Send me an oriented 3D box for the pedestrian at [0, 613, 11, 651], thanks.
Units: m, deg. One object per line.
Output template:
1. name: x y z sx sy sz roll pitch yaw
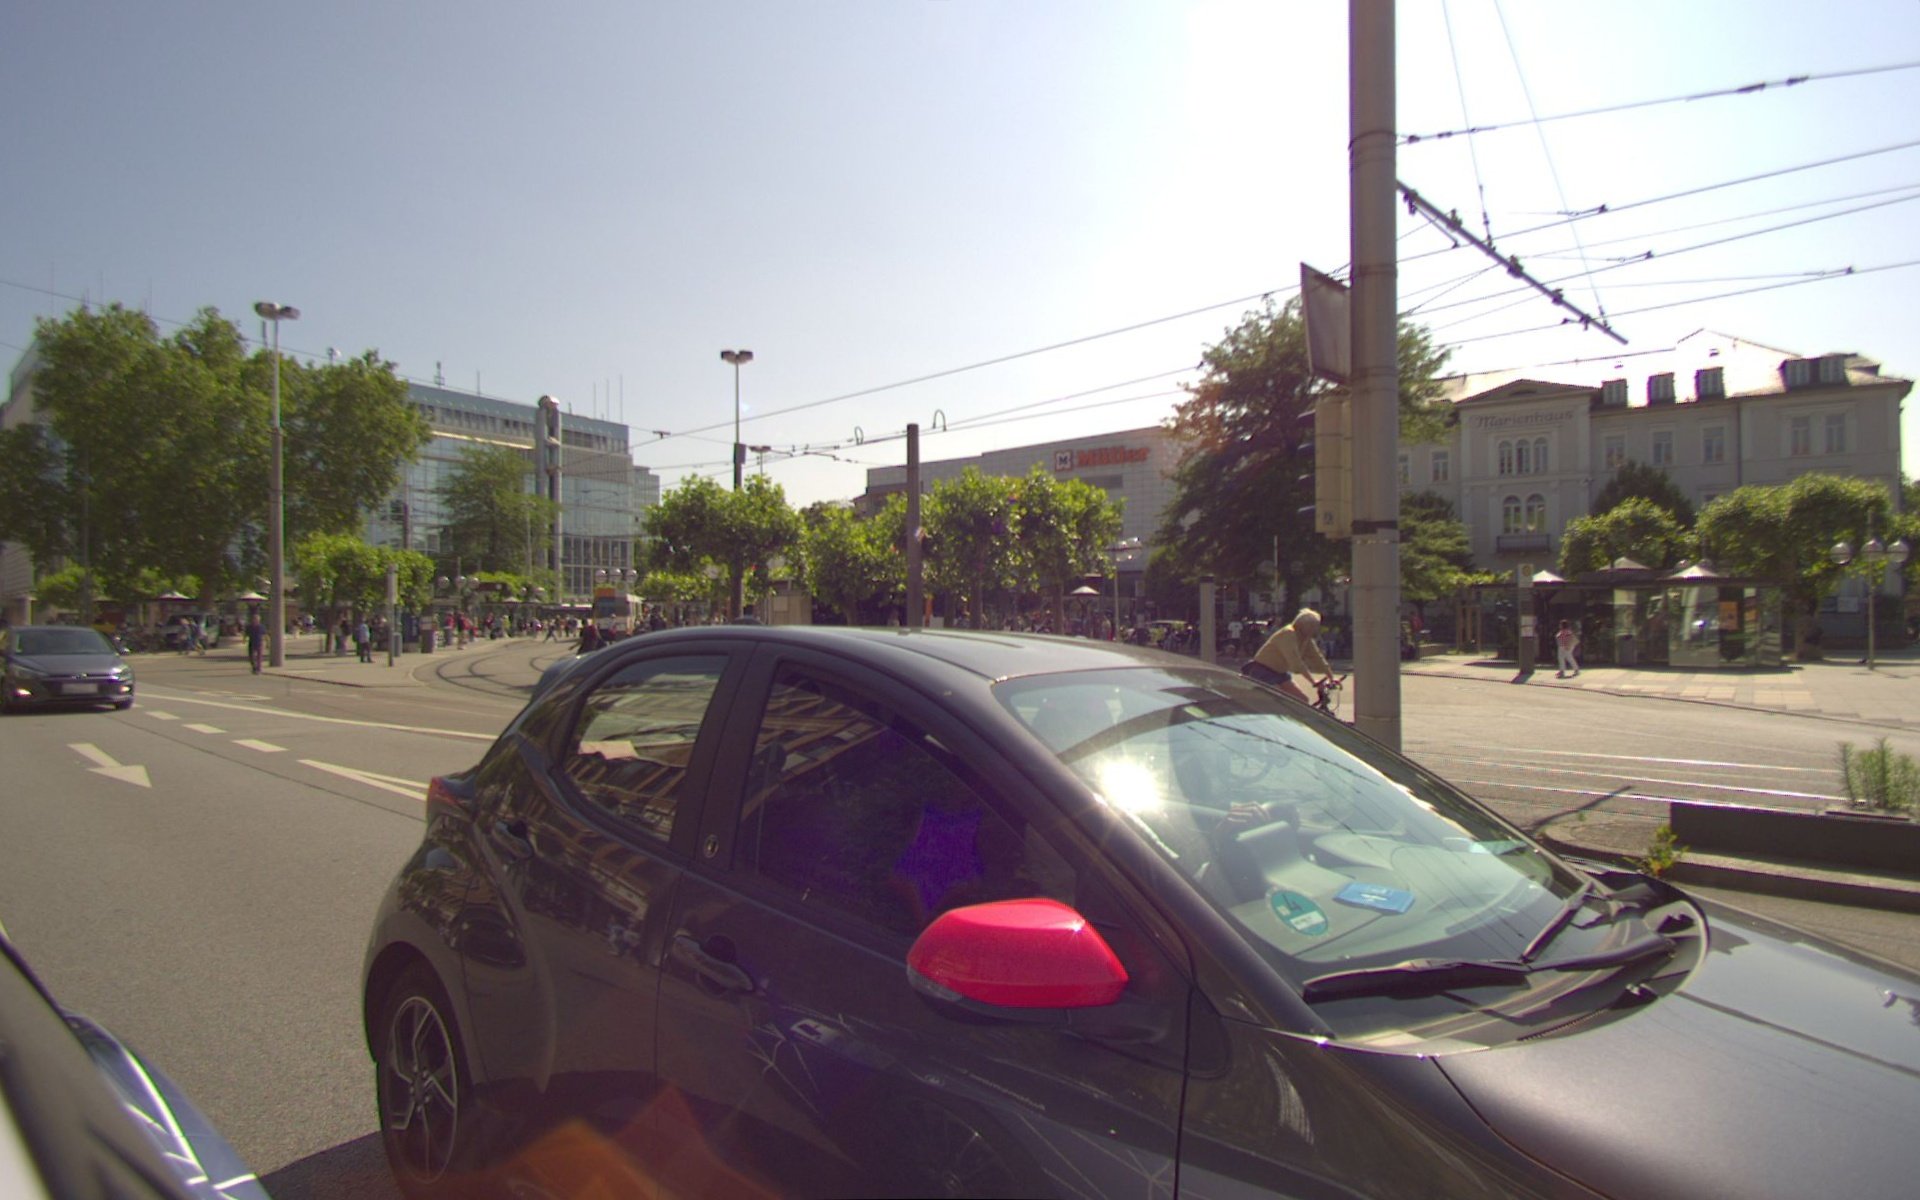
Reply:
1. pedestrian: -47.628 1.594 50.346 0.510 1.849 0.717 -2 0 -41

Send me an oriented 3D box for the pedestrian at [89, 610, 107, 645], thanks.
1. pedestrian: -43.328 1.368 50.870 0.516 1.755 0.511 -1 0 28

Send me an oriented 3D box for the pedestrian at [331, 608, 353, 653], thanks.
1. pedestrian: -28.214 1.377 46.217 0.563 2.023 0.686 -1 -1 32

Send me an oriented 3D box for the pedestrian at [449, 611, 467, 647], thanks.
1. pedestrian: -25.674 1.500 51.770 0.605 1.830 0.570 -2 -5 41

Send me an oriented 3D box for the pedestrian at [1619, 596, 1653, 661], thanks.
1. pedestrian: 21.433 0.903 32.074 0.621 2.023 0.736 4 -4 -43

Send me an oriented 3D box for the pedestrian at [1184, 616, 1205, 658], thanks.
1. pedestrian: 10.109 1.597 43.620 0.572 1.792 0.624 3 -4 -35

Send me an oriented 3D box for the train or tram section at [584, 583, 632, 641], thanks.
1. train or tram section: -25.349 0.775 73.221 2.578 3.856 9.546 -2 0 -15

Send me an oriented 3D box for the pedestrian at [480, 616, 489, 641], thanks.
1. pedestrian: -30.244 1.803 64.392 0.467 1.561 0.493 2 -4 -24

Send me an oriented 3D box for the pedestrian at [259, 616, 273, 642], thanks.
1. pedestrian: -47.554 1.966 69.362 0.629 1.706 0.754 -2 0 -26

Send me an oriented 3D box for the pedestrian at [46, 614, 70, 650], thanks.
1. pedestrian: -43.466 1.522 48.778 0.640 1.704 0.637 -1 0 28

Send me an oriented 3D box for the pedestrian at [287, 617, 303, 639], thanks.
1. pedestrian: -52.774 2.211 80.289 0.780 1.760 0.744 -1 0 31

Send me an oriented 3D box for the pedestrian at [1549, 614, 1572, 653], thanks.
1. pedestrian: 21.834 1.221 36.803 0.598 1.369 0.562 -2 -4 40

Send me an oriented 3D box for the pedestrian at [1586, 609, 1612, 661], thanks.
1. pedestrian: 21.811 1.187 34.529 0.618 1.742 0.732 -2 -4 40

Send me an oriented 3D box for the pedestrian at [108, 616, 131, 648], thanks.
1. pedestrian: -46.927 1.765 56.517 0.739 1.760 0.785 -2 0 -22

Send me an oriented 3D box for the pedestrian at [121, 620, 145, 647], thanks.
1. pedestrian: -45.020 1.804 55.101 0.780 1.418 0.744 -1 0 31

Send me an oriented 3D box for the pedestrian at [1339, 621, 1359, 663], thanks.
1. pedestrian: 14.922 1.618 38.855 0.616 1.611 0.735 -1 -3 29

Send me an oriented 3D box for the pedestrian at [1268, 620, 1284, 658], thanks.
1. pedestrian: 10.759 1.335 34.413 0.479 1.273 0.400 -1 -4 23

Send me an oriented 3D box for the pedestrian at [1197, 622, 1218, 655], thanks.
1. pedestrian: 9.764 1.516 39.925 0.613 1.273 0.583 4 -5 -40

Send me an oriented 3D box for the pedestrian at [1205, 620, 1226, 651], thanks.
1. pedestrian: 10.747 1.497 42.558 0.572 1.273 0.624 3 -4 -35

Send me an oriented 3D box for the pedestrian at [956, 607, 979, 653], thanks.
1. pedestrian: 0.270 1.096 36.822 0.549 1.620 0.600 -3 -5 44

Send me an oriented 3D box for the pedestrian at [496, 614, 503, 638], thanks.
1. pedestrian: -30.905 1.740 67.943 0.379 1.561 0.413 2 -4 -24

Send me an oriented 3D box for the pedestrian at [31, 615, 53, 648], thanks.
1. pedestrian: -50.030 1.708 55.161 0.666 1.760 0.742 -1 0 40

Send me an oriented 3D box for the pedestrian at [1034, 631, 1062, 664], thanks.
1. pedestrian: 2.681 1.450 30.758 0.580 1.008 0.627 -3 -5 44

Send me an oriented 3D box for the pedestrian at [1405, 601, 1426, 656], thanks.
1. pedestrian: 16.837 1.067 37.418 0.627 2.023 0.542 0 -3 19

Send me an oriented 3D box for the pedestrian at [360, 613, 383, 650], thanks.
1. pedestrian: -28.937 1.544 49.784 0.671 1.808 0.625 1 -4 -1

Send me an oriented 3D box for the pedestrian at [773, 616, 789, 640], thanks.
1. pedestrian: -11.983 1.891 67.697 0.840 1.561 0.677 0 -4 15

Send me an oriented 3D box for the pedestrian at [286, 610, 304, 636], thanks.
1. pedestrian: -46.771 1.628 71.183 0.780 1.760 0.744 -1 0 31

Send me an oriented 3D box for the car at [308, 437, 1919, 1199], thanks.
1. car: 0.219 0.691 2.123 4.001 1.486 1.757 -1 -3 44

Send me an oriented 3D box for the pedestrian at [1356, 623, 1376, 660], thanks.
1. pedestrian: 15.426 1.586 38.445 0.616 1.396 0.735 -1 -3 29

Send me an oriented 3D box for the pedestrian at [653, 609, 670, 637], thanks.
1. pedestrian: -17.565 1.333 59.520 0.675 1.610 0.621 -1 -4 19

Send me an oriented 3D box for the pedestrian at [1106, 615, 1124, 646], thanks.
1. pedestrian: 7.549 1.510 49.385 0.679 1.477 0.617 -2 -4 36

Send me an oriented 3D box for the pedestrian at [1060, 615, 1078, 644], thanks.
1. pedestrian: 5.633 1.537 52.362 0.679 1.477 0.617 -2 -4 36

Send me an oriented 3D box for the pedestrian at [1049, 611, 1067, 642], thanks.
1. pedestrian: 4.863 1.324 50.184 0.679 1.477 0.617 -2 -4 36

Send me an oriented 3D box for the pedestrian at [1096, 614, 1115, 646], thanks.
1. pedestrian: 6.961 1.435 48.325 0.616 1.477 0.681 4 -5 -44

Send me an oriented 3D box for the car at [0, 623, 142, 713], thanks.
1. car: -16.142 1.130 17.948 3.995 1.415 1.678 -1 -2 38

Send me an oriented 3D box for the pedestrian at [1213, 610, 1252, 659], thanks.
1. pedestrian: 10.321 1.308 38.372 0.953 1.807 1.082 4 -5 -40

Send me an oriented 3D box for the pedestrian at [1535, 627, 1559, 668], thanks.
1. pedestrian: 20.546 1.668 35.427 0.598 1.401 0.562 -2 -4 40

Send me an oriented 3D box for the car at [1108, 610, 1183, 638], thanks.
1. car: 10.911 1.420 59.572 3.991 1.519 1.740 -1 0 36

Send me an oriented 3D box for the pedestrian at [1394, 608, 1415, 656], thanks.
1. pedestrian: 16.230 1.176 36.987 0.627 1.762 0.542 0 -3 19

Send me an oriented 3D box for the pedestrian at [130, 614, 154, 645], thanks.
1. pedestrian: -44.210 1.597 54.682 0.780 1.608 0.744 -1 0 31

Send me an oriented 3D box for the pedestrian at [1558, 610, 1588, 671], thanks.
1. pedestrian: 17.571 1.160 29.033 0.676 1.719 0.699 -1 -3 28

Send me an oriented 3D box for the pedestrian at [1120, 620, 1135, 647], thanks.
1. pedestrian: 7.900 1.572 47.717 0.511 1.273 0.453 4 -5 -44

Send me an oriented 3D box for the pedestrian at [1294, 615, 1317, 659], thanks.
1. pedestrian: 13.874 1.486 40.631 0.618 1.742 0.732 -2 -4 40

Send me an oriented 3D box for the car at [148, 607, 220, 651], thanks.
1. car: -38.643 1.380 50.519 1.966 2.029 5.083 -2 0 -28

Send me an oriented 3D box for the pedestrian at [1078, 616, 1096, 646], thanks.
1. pedestrian: 6.231 1.519 49.721 0.679 1.477 0.617 -2 -4 36

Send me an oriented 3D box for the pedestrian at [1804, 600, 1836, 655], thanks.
1. pedestrian: 32.108 1.022 37.781 0.830 2.023 0.595 -2 -4 39

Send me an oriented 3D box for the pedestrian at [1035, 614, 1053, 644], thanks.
1. pedestrian: 4.237 1.456 50.968 0.679 1.477 0.617 -2 -4 38

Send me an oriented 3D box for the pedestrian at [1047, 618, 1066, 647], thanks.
1. pedestrian: 5.088 1.724 53.275 0.741 1.477 0.780 -2 -4 36

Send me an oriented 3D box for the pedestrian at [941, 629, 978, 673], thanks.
1. pedestrian: -0.012 1.386 27.396 0.751 1.180 0.669 -2 -4 35

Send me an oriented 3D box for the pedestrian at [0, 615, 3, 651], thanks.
1. pedestrian: -49.223 1.683 51.526 0.738 1.860 0.587 -1 -2 40
